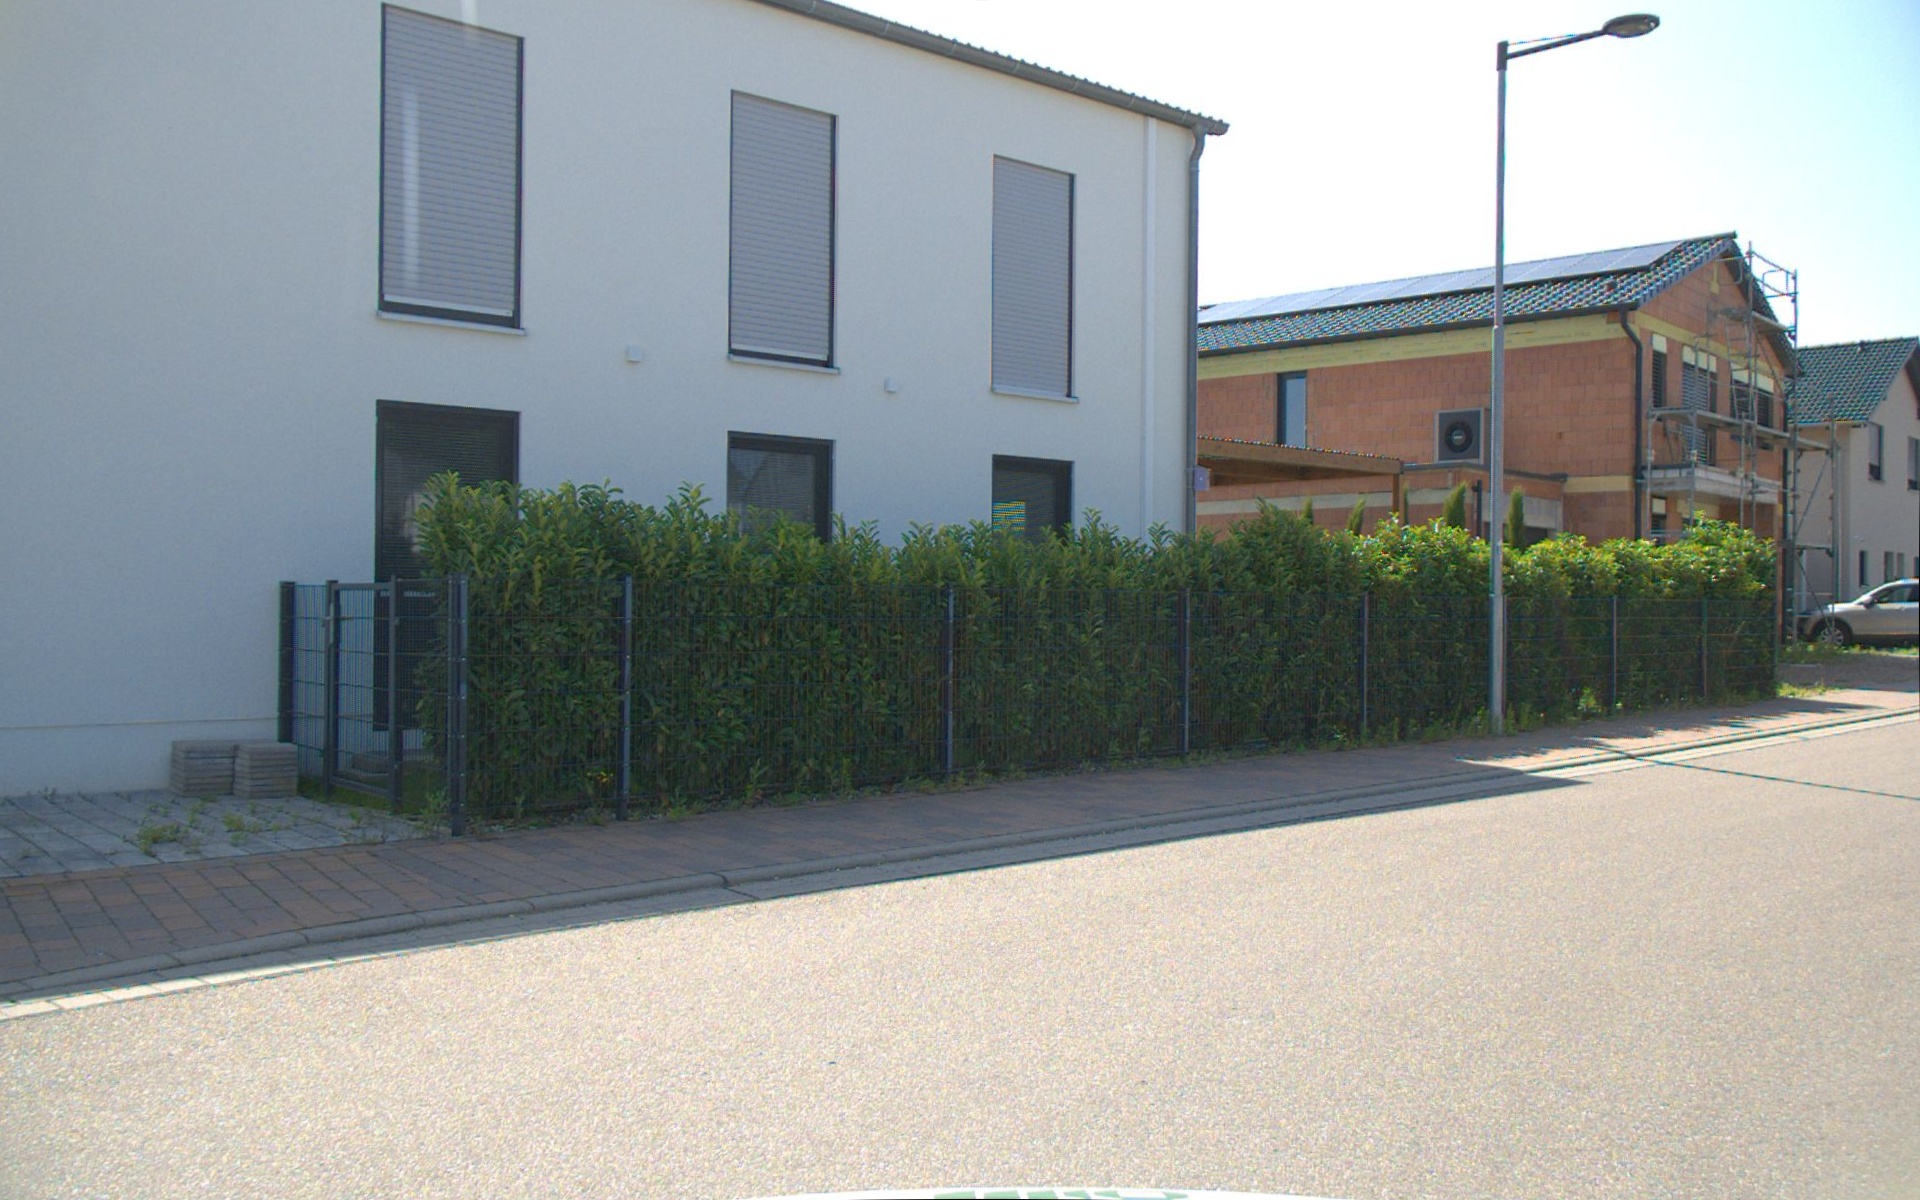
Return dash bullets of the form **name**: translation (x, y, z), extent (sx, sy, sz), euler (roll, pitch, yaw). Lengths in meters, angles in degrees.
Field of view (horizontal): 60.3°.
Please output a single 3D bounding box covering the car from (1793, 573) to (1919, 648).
- **car**: translation (21.302, 0.220, 37.111), extent (4.355, 1.640, 1.990), euler (0, 0, 39)
